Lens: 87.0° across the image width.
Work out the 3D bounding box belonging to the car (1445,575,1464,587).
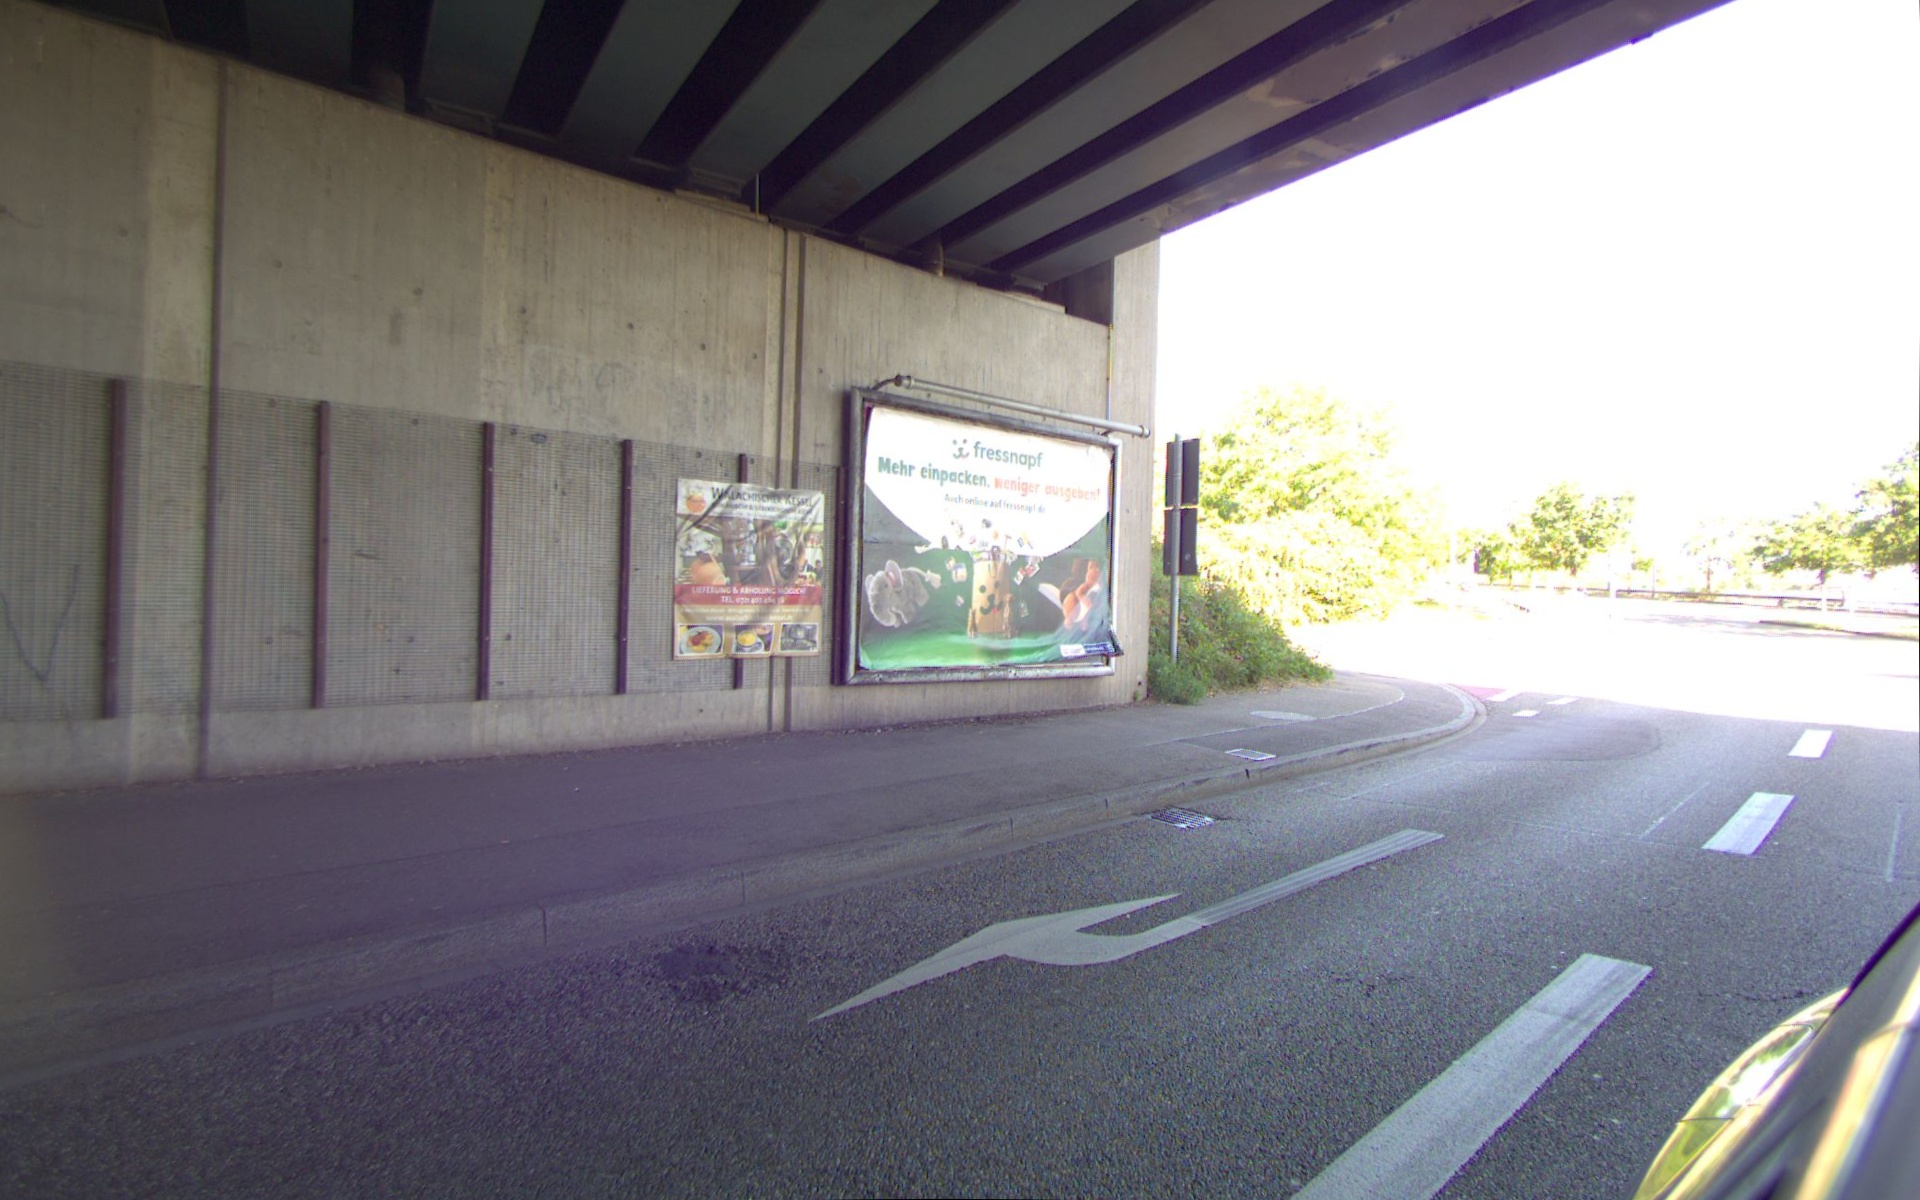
[{"bbox_3d":[64.663,-2.496,132.375,1.716,1.438,4.292,2,0,18],"label":"car"}]

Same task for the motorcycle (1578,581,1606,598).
[{"bbox_3d":[63.457,-1.069,101.590,1.089,1.681,3.150,0,0,6],"label":"motorcycle"}]

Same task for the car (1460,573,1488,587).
[{"bbox_3d":[58.304,-2.227,114.874,1.711,1.438,4.304,2,0,11],"label":"car"}]

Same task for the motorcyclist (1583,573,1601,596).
[{"bbox_3d":[63.443,-1.550,101.537,1.090,2.269,1.180,0,0,7],"label":"motorcyclist"}]
